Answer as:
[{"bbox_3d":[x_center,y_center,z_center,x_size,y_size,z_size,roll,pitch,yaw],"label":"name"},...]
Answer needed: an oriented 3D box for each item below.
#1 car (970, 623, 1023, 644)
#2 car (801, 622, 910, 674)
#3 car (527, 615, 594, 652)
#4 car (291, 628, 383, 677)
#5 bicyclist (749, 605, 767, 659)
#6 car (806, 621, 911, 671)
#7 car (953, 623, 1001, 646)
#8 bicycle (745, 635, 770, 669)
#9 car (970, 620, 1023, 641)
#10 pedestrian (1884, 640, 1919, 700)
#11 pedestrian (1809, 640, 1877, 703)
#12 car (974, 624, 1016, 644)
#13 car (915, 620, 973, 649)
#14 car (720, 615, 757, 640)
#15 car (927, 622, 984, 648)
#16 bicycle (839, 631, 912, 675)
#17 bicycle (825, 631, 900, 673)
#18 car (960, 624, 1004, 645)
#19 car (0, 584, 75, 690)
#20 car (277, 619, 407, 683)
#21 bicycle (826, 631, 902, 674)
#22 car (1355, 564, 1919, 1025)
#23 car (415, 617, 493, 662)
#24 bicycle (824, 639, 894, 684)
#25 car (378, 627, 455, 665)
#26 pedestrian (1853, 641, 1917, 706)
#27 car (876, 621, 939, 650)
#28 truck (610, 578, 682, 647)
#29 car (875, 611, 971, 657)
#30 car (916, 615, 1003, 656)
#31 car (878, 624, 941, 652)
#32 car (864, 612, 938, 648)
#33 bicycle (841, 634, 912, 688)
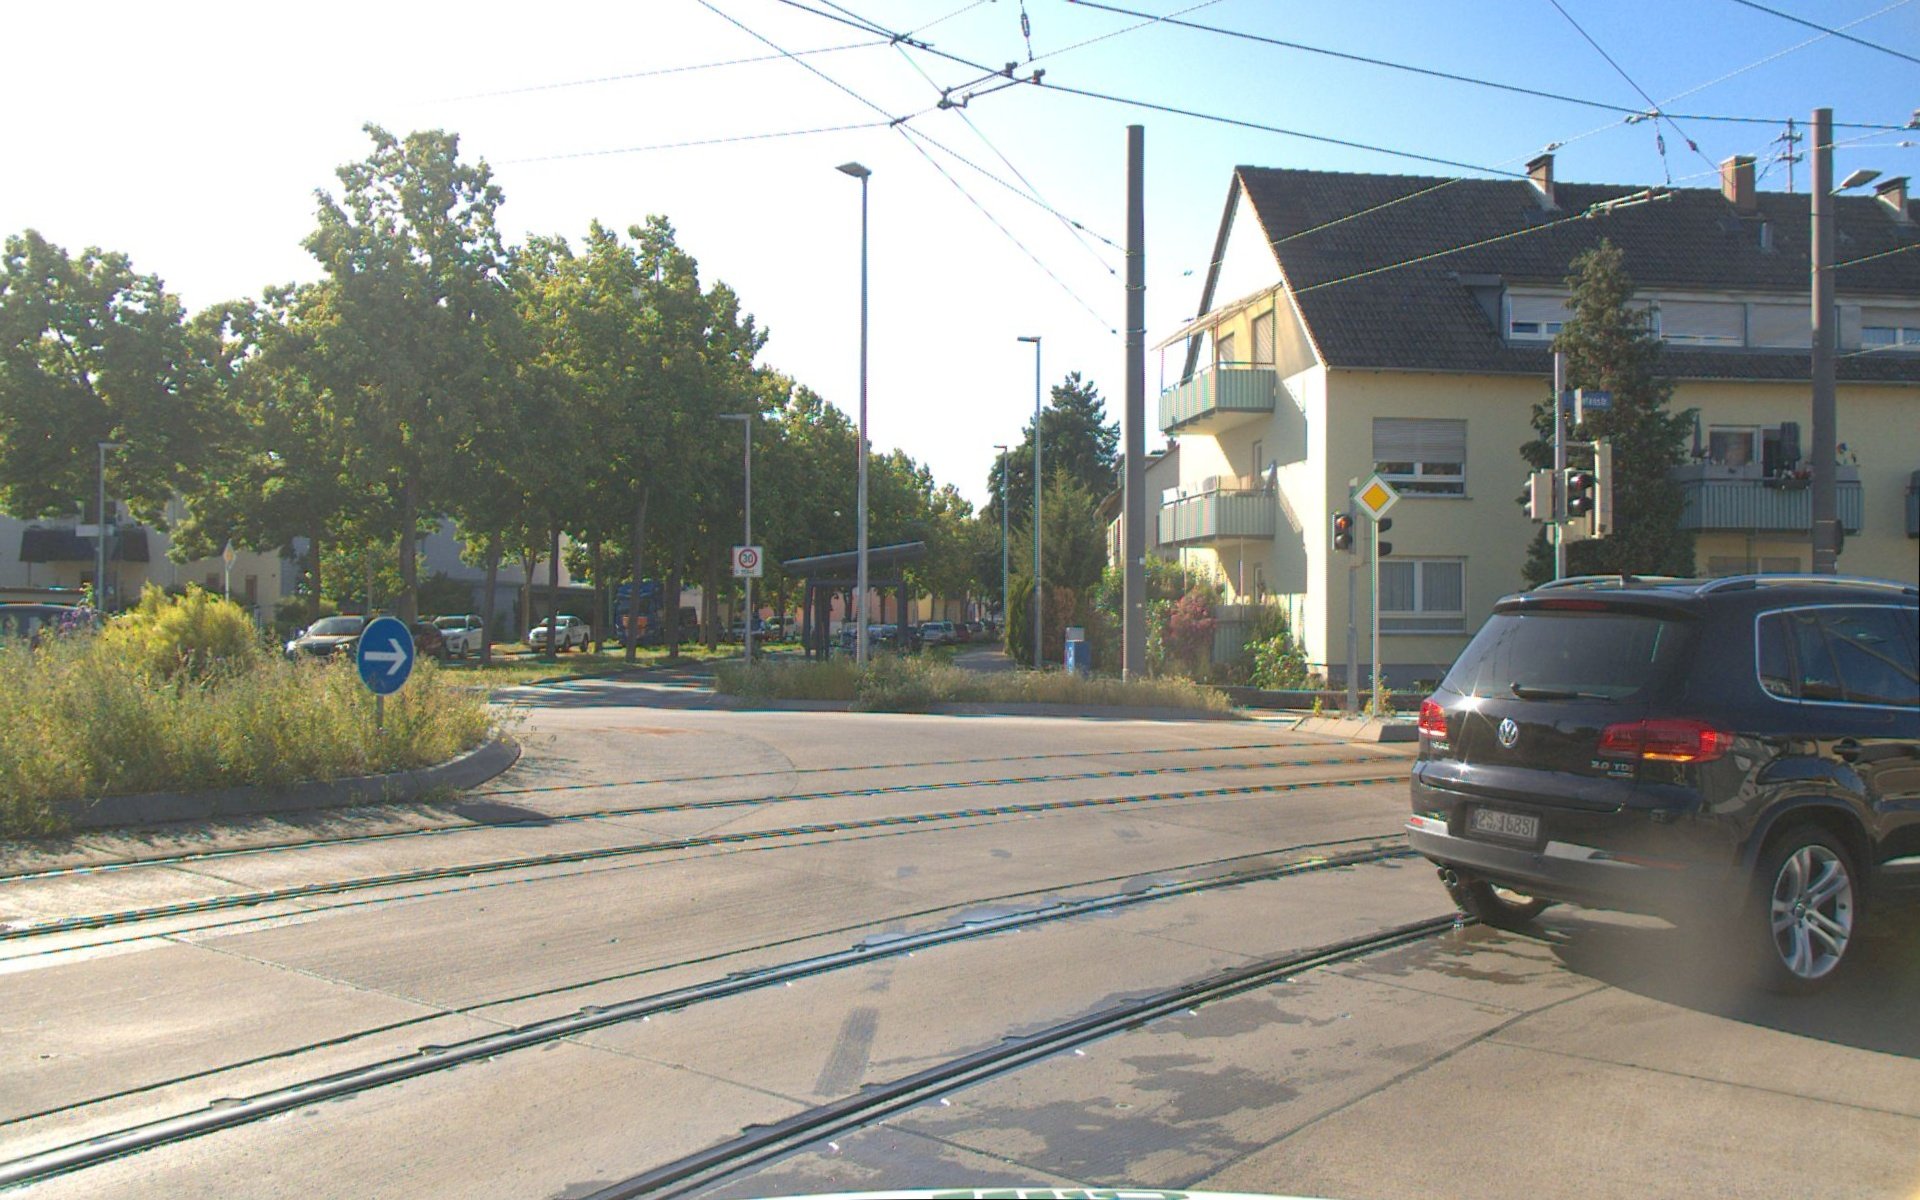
[{"bbox_3d":[2.431,2.240,111.037,3.445,1.318,1.577,2,-1,-1],"label":"car"},{"bbox_3d":[-3.411,1.570,54.395,3.445,1.560,1.577,2,-1,-1],"label":"car"},{"bbox_3d":[-20.474,1.720,84.987,1.952,1.804,5.061,2,-1,3],"label":"car"},{"bbox_3d":[-18.985,1.570,50.527,1.563,1.388,3.995,2,-1,-5],"label":"car"},{"bbox_3d":[-6.611,1.042,54.072,0.591,1.744,0.543,0,-5,-8],"label":"bicyclist"},{"bbox_3d":[-3.427,1.558,56.145,3.445,1.560,1.577,2,-1,-1],"label":"car"},{"bbox_3d":[1.216,2.521,120.903,3.445,1.560,1.577,2,-1,-1],"label":"car"},{"bbox_3d":[-6.582,1.693,53.683,0.752,1.055,1.531,1,-2,-8],"label":"bicycle"},{"bbox_3d":[2.423,2.063,110.990,3.445,1.302,1.577,2,-1,-1],"label":"car"},{"bbox_3d":[16.683,1.225,28.930,0.587,1.023,0.716,2,-1,-32],"label":"pedestrian"},{"bbox_3d":[15.218,1.226,28.510,0.673,1.065,0.818,1,-1,-10],"label":"pedestrian"},{"bbox_3d":[2.897,2.831,137.817,3.445,1.560,1.577,2,-1,-1],"label":"car"},{"bbox_3d":[-0.934,2.009,96.693,3.291,1.560,1.522,2,-1,-1],"label":"car"},{"bbox_3d":[-16.542,2.065,123.697,1.952,1.729,4.220,2,-1,4],"label":"car"},{"bbox_3d":[-0.291,2.147,101.450,3.408,1.519,1.552,2,-1,-1],"label":"car"},{"bbox_3d":[-2.135,1.331,41.906,1.804,1.045,0.688,2,-1,-5],"label":"bicycle"},{"bbox_3d":[-2.572,1.377,43.735,1.934,1.045,0.688,2,-1,-5],"label":"bicycle"},{"bbox_3d":[1.761,2.701,131.547,3.445,1.560,1.577,2,-1,-1],"label":"car"},{"bbox_3d":[-15.258,0.543,25.007,3.832,1.517,1.688,0,-1,33],"label":"car"},{"bbox_3d":[-16.731,1.348,45.031,1.793,1.608,4.440,2,-1,0],"label":"car"},{"bbox_3d":[-2.488,1.362,42.786,1.934,1.045,0.695,2,-1,-5],"label":"bicycle"},{"bbox_3d":[4.104,0.705,7.935,4.196,1.699,1.801,0,1,-29],"label":"car"},{"bbox_3d":[-20.928,1.623,68.616,1.953,1.729,4.217,2,-1,-1],"label":"car"},{"bbox_3d":[-2.459,1.498,40.367,1.657,1.045,0.599,2,-1,-5],"label":"bicycle"},{"bbox_3d":[-20.915,1.759,63.802,1.923,1.347,3.995,2,-1,-5],"label":"car"},{"bbox_3d":[16.043,1.270,28.699,0.621,1.083,0.808,2,-1,-41],"label":"pedestrian"},{"bbox_3d":[-2.881,1.960,90.863,3.340,1.560,1.525,0,-1,3],"label":"car"},{"bbox_3d":[-19.458,0.779,102.890,3.007,4.063,8.006,2,0,-1],"label":"truck"},{"bbox_3d":[-1.344,1.252,60.785,3.445,1.560,1.577,2,-1,-1],"label":"car"},{"bbox_3d":[-0.007,1.436,66.829,3.445,1.560,1.577,2,-1,-1],"label":"car"},{"bbox_3d":[-2.830,2.131,92.779,3.369,1.419,1.238,2,-1,3],"label":"car"},{"bbox_3d":[-2.775,1.410,78.307,3.445,1.560,1.577,2,-1,-1],"label":"car"},{"bbox_3d":[-1.970,1.437,39.114,1.633,1.229,0.688,2,-1,-5],"label":"bicycle"}]
